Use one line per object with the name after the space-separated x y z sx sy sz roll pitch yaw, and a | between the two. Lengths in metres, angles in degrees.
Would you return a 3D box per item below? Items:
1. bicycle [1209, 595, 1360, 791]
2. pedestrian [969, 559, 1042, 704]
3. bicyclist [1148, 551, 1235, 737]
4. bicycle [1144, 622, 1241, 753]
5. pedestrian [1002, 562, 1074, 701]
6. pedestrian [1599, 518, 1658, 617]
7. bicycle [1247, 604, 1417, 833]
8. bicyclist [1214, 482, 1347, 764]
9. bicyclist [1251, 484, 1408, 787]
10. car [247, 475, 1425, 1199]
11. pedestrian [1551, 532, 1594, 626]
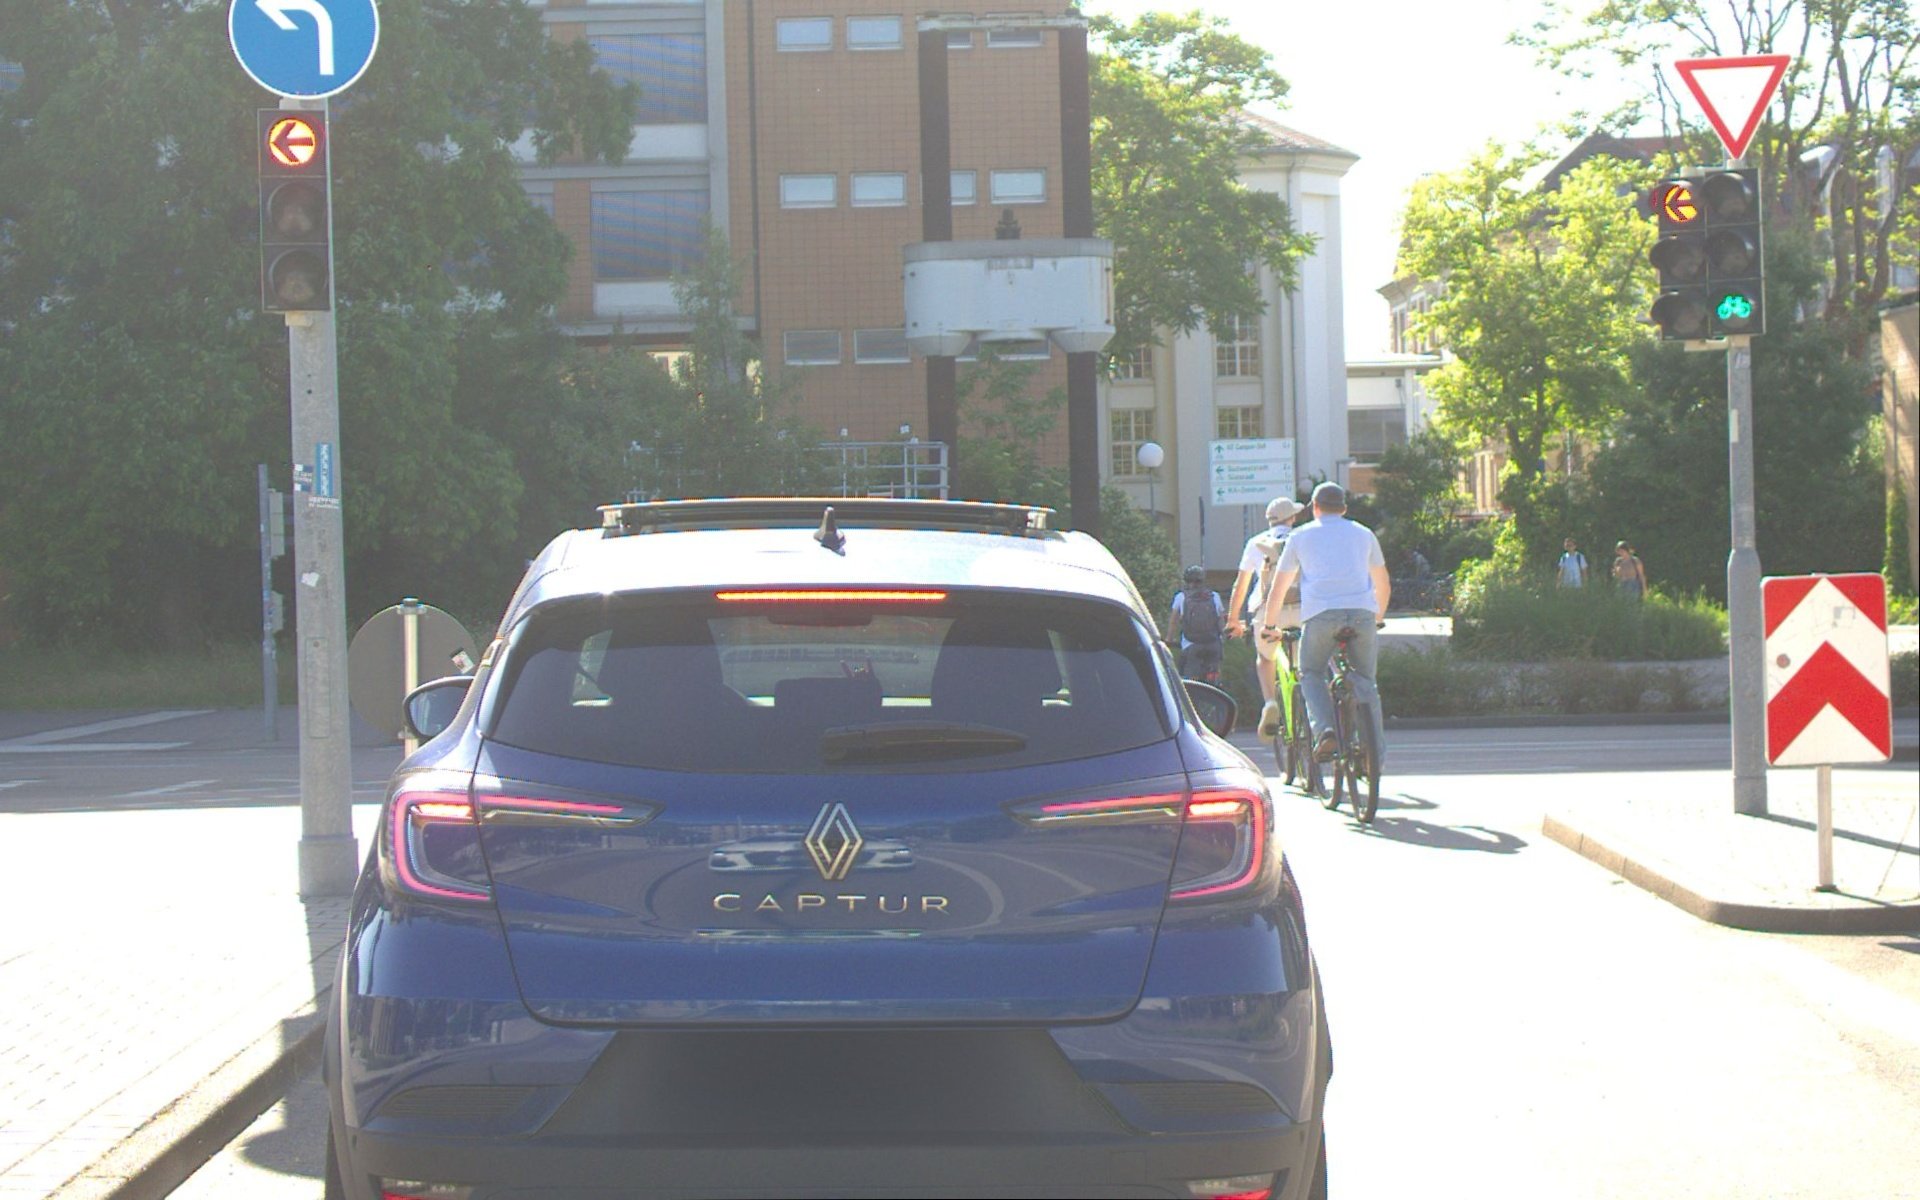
2.062 0.570 22.034 0.746 1.161 1.870 -1 1 -1 | bicycle
0.578 0.396 43.669 0.734 1.810 0.731 1 0 17 | pedestrian
2.194 0.405 32.692 0.719 1.729 0.978 -1 1 -1 | bicyclist
2.200 0.818 32.725 0.746 1.161 1.870 -1 1 -1 | bicycle
1.015 0.404 44.659 0.734 1.776 0.731 1 0 17 | pedestrian
11.132 -0.544 57.278 0.677 1.637 0.734 1 1 39 | pedestrian
2.027 0.623 18.967 0.716 1.161 1.870 -1 1 0 | bicycle
2.049 0.136 22.091 0.719 1.756 0.978 -1 1 -1 | bicyclist
2.022 0.183 18.909 0.719 1.611 0.978 -1 1 -1 | bicyclist
-0.224 0.596 7.435 1.876 1.612 3.798 1 1 -1 | car
10.840 -0.378 60.822 0.676 1.637 0.735 1 0 14 | pedestrian
